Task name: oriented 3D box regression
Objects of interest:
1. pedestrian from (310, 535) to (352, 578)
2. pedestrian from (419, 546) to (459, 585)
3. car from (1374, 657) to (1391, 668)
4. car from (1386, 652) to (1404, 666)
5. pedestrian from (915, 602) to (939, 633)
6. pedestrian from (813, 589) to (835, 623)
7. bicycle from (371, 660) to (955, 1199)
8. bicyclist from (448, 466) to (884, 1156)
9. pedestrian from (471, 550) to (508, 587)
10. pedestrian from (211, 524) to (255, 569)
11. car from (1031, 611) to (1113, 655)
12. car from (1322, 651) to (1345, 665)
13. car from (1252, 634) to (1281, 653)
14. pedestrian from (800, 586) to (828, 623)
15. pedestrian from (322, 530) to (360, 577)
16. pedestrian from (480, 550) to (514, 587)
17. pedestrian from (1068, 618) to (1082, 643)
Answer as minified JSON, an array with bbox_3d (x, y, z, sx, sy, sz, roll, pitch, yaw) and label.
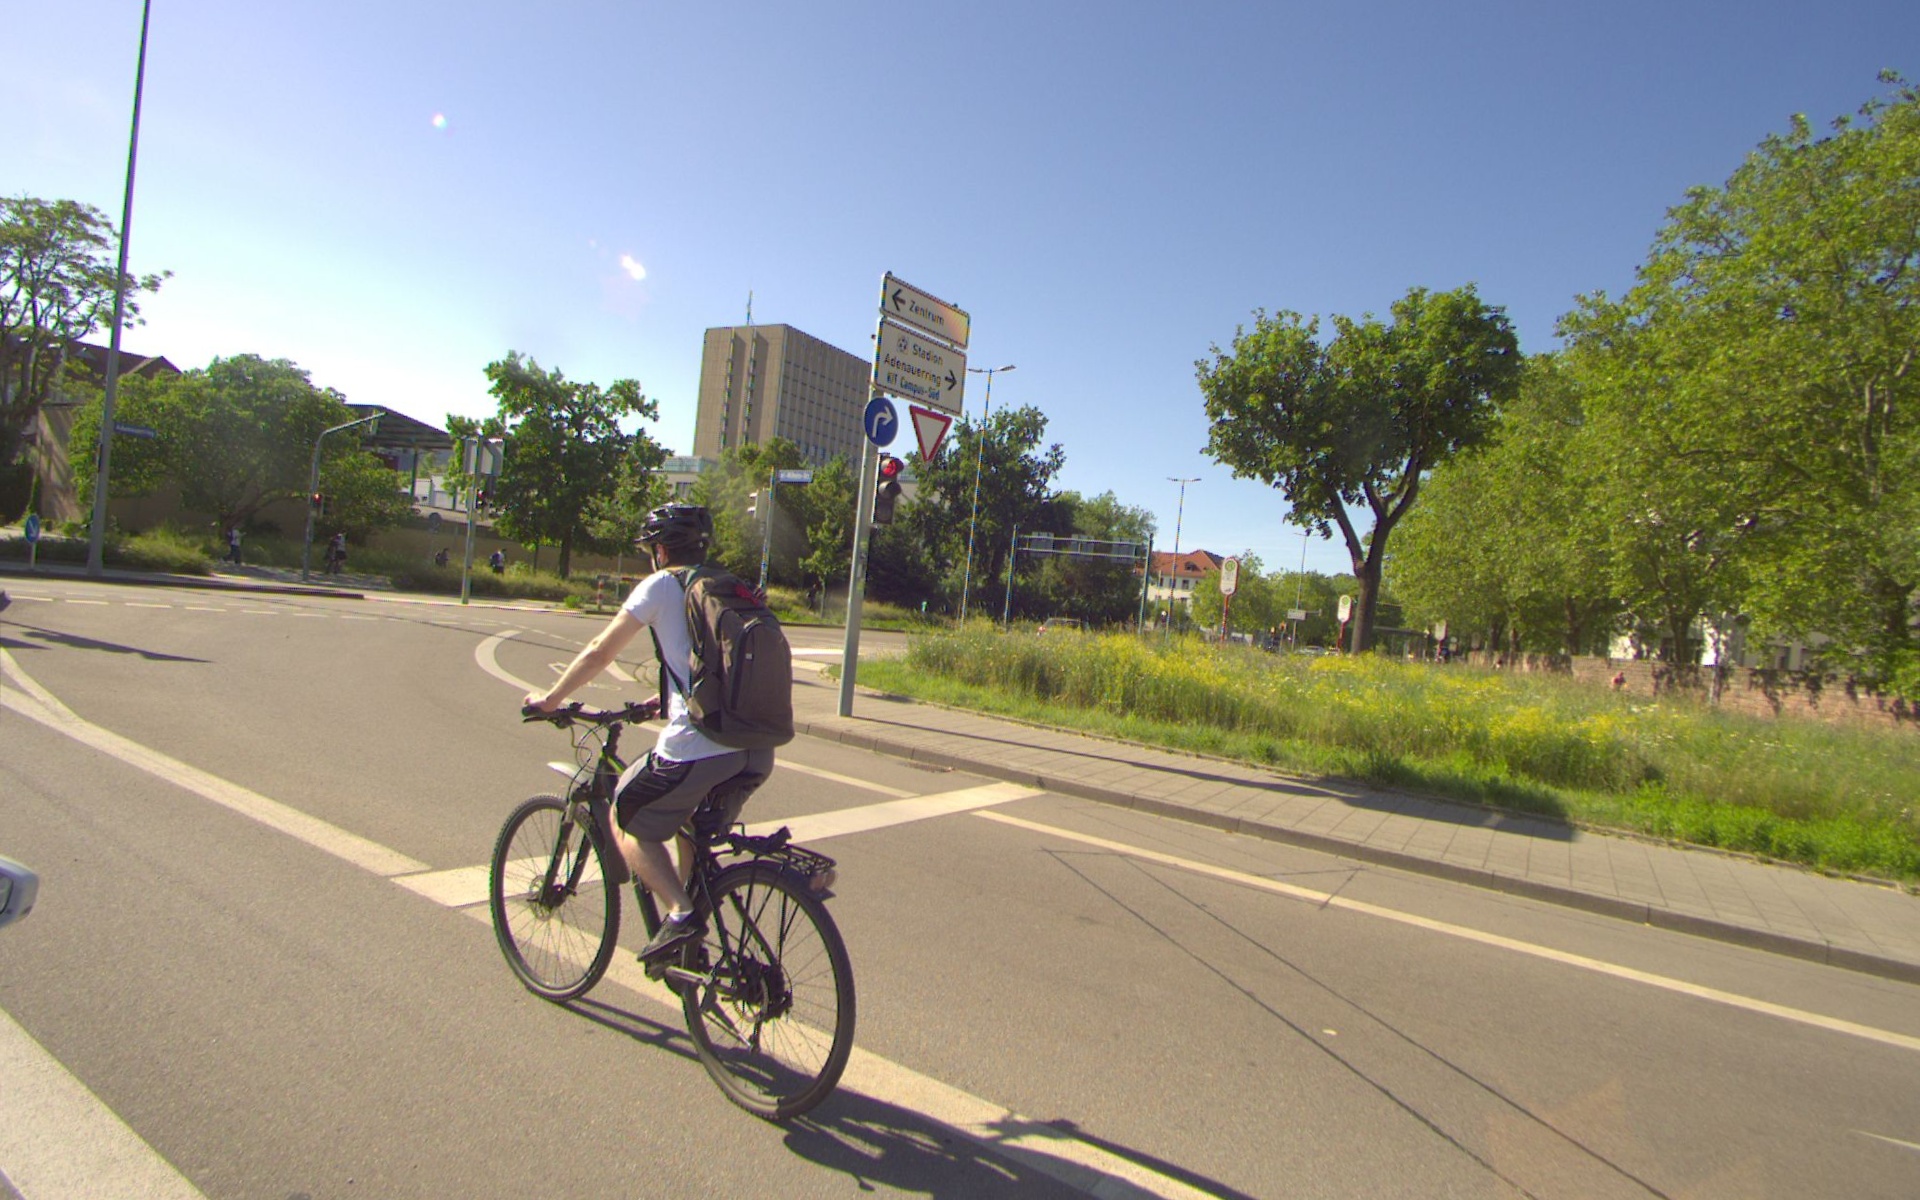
[{"bbox_3d":[-24.880,-1.708,39.806,0.865,1.540,1.074,7,1,36],"label":"pedestrian"},{"bbox_3d":[-22.710,-1.492,43.842,0.927,1.540,1.145,7,1,38],"label":"pedestrian"},{"bbox_3d":[69.057,10.231,164.309,1.967,1.378,4.000,7,0,31],"label":"car"},{"bbox_3d":[79.168,10.743,183.168,1.968,2.062,4.834,7,0,34],"label":"car"},{"bbox_3d":[-2.392,1.267,73.312,1.065,2.106,1.231,7,1,35],"label":"pedestrian"},{"bbox_3d":[-8.783,0.386,65.130,0.800,2.106,0.896,7,1,35],"label":"pedestrian"},{"bbox_3d":[-1.001,0.885,3.203,1.795,1.152,0.616,7,0,30],"label":"bicycle"},{"bbox_3d":[-0.914,0.552,3.179,0.924,1.806,0.678,6,-1,30],"label":"bicyclist"},{"bbox_3d":[-21.843,-1.446,46.697,0.975,1.540,1.129,7,1,35],"label":"pedestrian"},{"bbox_3d":[-27.452,-2.030,37.981,0.917,1.540,1.083,7,1,41],"label":"pedestrian"},{"bbox_3d":[4.788,1.415,42.560,1.714,1.535,3.990,7,0,32],"label":"car"},{"bbox_3d":[53.369,8.295,143.772,1.968,1.625,4.505,7,0,34],"label":"car"},{"bbox_3d":[33.334,4.725,109.447,1.967,1.666,3.995,6,-2,31],"label":"car"},{"bbox_3d":[-8.986,0.276,62.105,0.966,2.106,1.186,7,1,35],"label":"pedestrian"},{"bbox_3d":[-25.398,-1.906,41.272,0.912,1.754,0.962,7,1,39],"label":"pedestrian"},{"bbox_3d":[-21.254,-1.432,46.207,0.871,1.540,0.971,7,1,35],"label":"pedestrian"},{"bbox_3d":[10.301,2.723,90.156,0.633,2.194,0.912,7,1,35],"label":"pedestrian"}]
